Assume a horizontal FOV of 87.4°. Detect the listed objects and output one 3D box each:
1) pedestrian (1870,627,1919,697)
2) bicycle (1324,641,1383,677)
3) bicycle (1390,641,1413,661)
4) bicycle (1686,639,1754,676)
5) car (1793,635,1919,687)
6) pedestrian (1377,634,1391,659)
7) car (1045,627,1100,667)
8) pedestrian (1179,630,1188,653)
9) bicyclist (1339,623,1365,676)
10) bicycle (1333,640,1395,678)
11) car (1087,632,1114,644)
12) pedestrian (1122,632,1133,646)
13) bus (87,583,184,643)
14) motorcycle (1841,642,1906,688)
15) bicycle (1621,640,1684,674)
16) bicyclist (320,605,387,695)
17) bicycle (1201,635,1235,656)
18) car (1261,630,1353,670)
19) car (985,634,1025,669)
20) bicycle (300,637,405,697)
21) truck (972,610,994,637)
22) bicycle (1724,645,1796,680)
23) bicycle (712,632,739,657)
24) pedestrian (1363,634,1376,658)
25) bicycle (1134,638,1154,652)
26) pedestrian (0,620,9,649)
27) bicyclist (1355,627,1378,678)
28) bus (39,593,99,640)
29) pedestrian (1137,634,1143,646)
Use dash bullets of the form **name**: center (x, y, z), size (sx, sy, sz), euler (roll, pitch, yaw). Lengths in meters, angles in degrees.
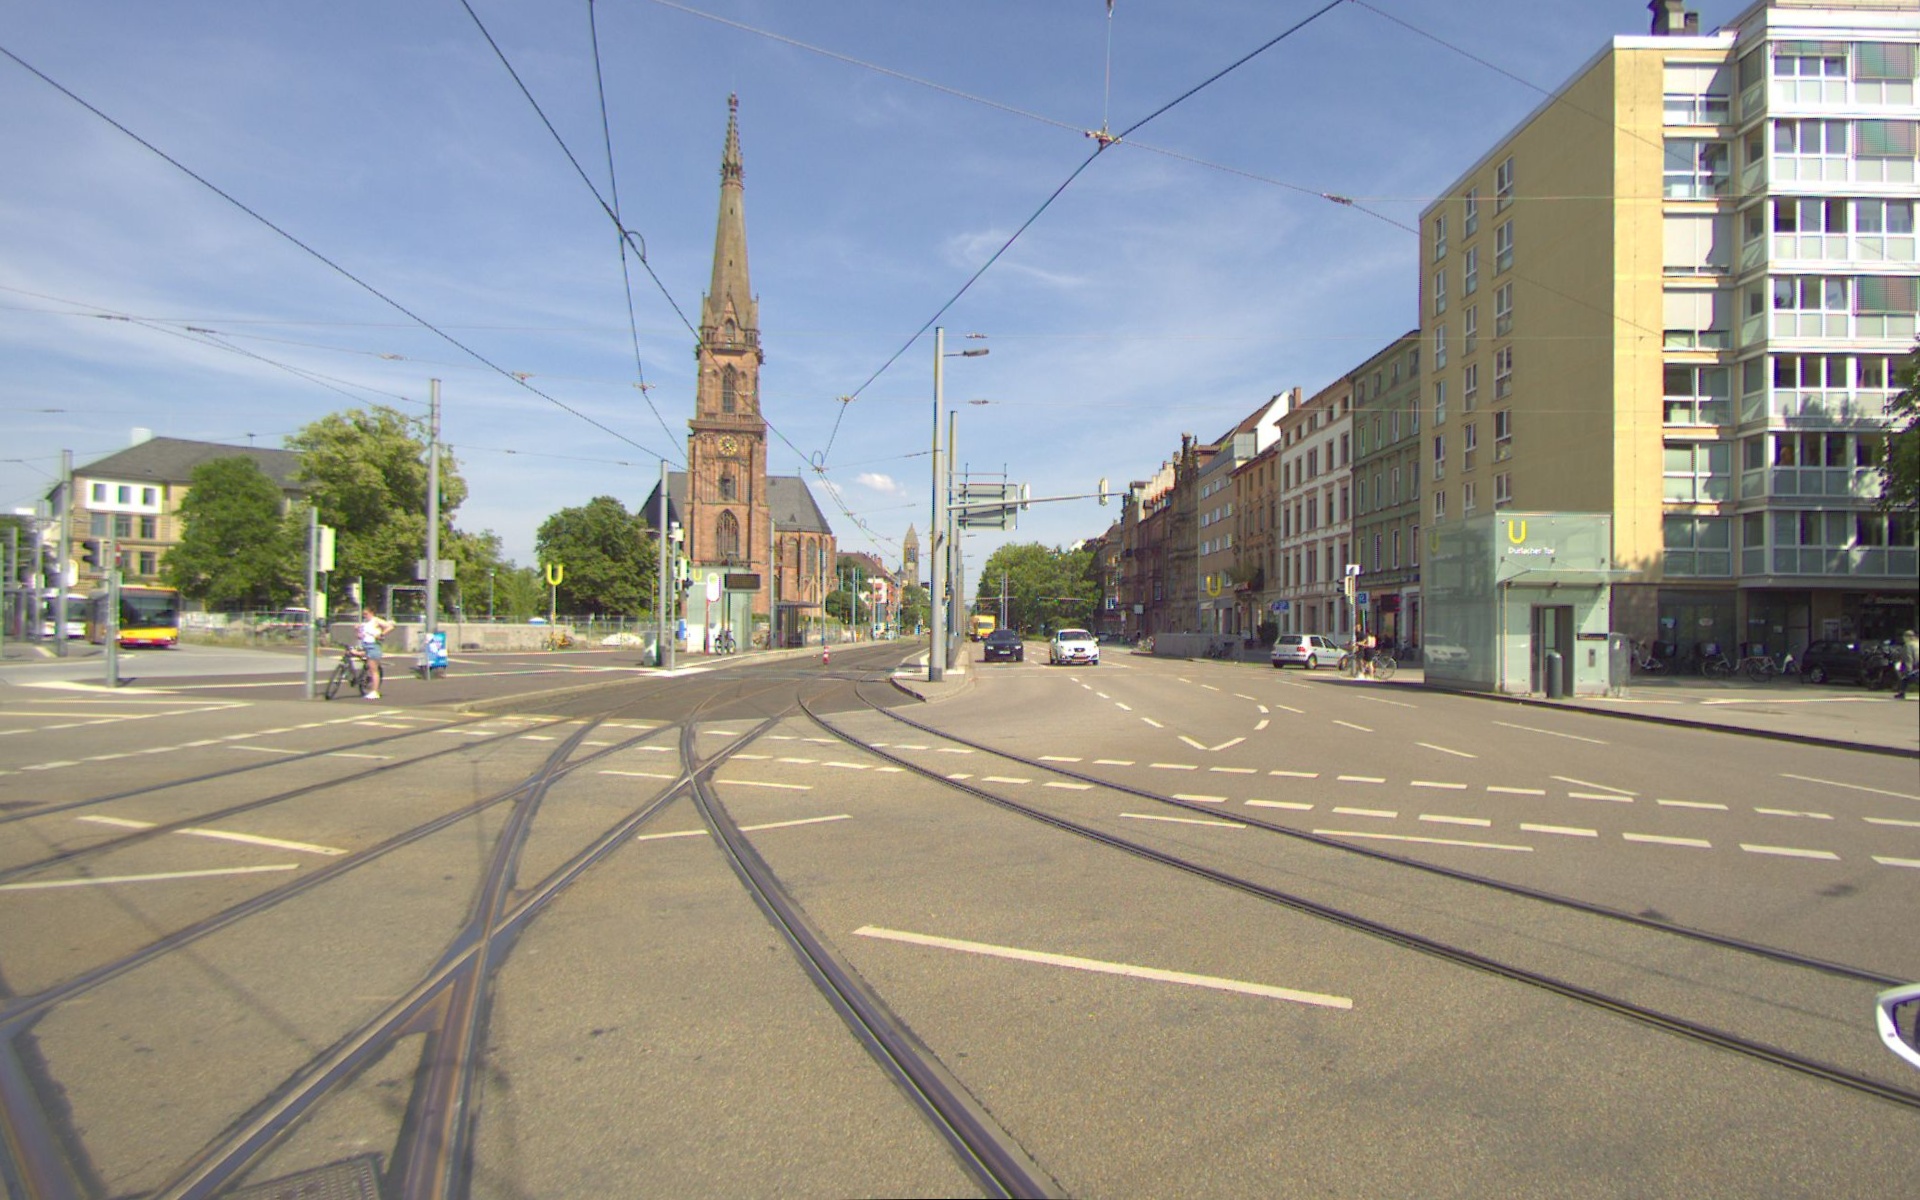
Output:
- **pedestrian**: center (21.142, 1.360, 22.354), size (0.644, 1.422, 1.116), euler (-6, 1, -4)
- **bicycle**: center (13.183, 1.963, 33.652), size (1.763, 1.145, 0.583), euler (2, -2, -6)
- **bicycle**: center (23.396, 2.690, 53.249), size (0.406, 0.977, 1.780), euler (-2, -2, -1)
- **bicycle**: center (25.600, 1.928, 33.838), size (1.721, 1.235, 0.584), euler (-1, -2, 11)
- **car**: center (28.907, 1.913, 31.825), size (1.627, 1.490, 4.094), euler (3, -1, 1)
- **pedestrian**: center (23.613, 2.591, 55.951), size (0.516, 1.392, 0.646), euler (1, -1, 0)
- **car**: center (4.508, 1.853, 40.640), size (1.725, 1.416, 4.125), euler (-3, -1, 0)
- **pedestrian**: center (16.108, 2.971, 72.287), size (0.543, 1.687, 0.525), euler (1, -2, 0)
- **bicyclist**: center (13.075, 1.650, 33.523), size (0.606, 1.758, 0.583), euler (1, -2, -6)
- **bicycle**: center (12.903, 1.886, 32.136), size (1.761, 1.145, 0.755), euler (1, -2, 18)
- **car**: center (21.664, 5.910, 155.194), size (3.920, 1.773, 2.000), euler (1, 1, 2)
- **pedestrian**: center (17.163, 3.989, 103.081), size (0.931, 1.342, 0.822), euler (0, -1, -2)
- **bus**: center (-42.030, 0.525, 51.021), size (2.741, 2.719, 11.630), euler (0, 1, -45)
- **motorcycle**: center (23.144, 1.631, 25.481), size (0.628, 1.076, 2.037), euler (0, -2, 25)
- **bicycle**: center (24.833, 2.042, 36.034), size (1.852, 1.201, 0.541), euler (0, -1, 2)
- **bicyclist**: center (-11.833, 0.980, 19.621), size (0.736, 1.706, 0.777), euler (1, -3, 7)
- **bicycle**: center (14.333, 2.519, 55.787), size (1.713, 1.109, 0.597), euler (1, -1, 0)
- **car**: center (14.523, 2.100, 41.993), size (3.967, 1.459, 1.793), euler (4, -3, -39)
- **car**: center (2.039, 2.360, 46.915), size (1.725, 1.475, 4.424), euler (0, -1, 1)
- **bicycle**: center (-11.825, 1.296, 19.626), size (0.736, 1.098, 1.851), euler (1, -3, 7)
- **truck**: center (2.853, 3.103, 129.220), size (2.501, 3.341, 9.030), euler (-2, -2, 0)
- **bicycle**: center (25.922, 2.021, 32.561), size (1.721, 1.100, 0.584), euler (-1, -2, 11)
- **bicycle**: center (-10.725, 2.026, 46.014), size (0.405, 1.085, 1.664), euler (-1, 0, 19)
- **pedestrian**: center (23.414, 2.636, 57.396), size (0.516, 1.372, 0.530), euler (1, -1, 0)
- **bicycle**: center (13.818, 3.355, 75.423), size (1.436, 0.989, 0.415), euler (1, 1, 0)
- **pedestrian**: center (-46.136, 1.650, 48.052), size (0.894, 1.385, 0.539), euler (1, 1, 17)
- **bicyclist**: center (12.968, 1.678, 32.036), size (0.601, 1.593, 0.733), euler (1, -2, 18)
- **bus**: center (-67.540, 1.279, 76.047), size (2.741, 3.366, 11.632), euler (2, -2, -45)
- **pedestrian**: center (21.803, 4.821, 121.573), size (0.524, 1.426, 0.490), euler (0, 1, -6)
